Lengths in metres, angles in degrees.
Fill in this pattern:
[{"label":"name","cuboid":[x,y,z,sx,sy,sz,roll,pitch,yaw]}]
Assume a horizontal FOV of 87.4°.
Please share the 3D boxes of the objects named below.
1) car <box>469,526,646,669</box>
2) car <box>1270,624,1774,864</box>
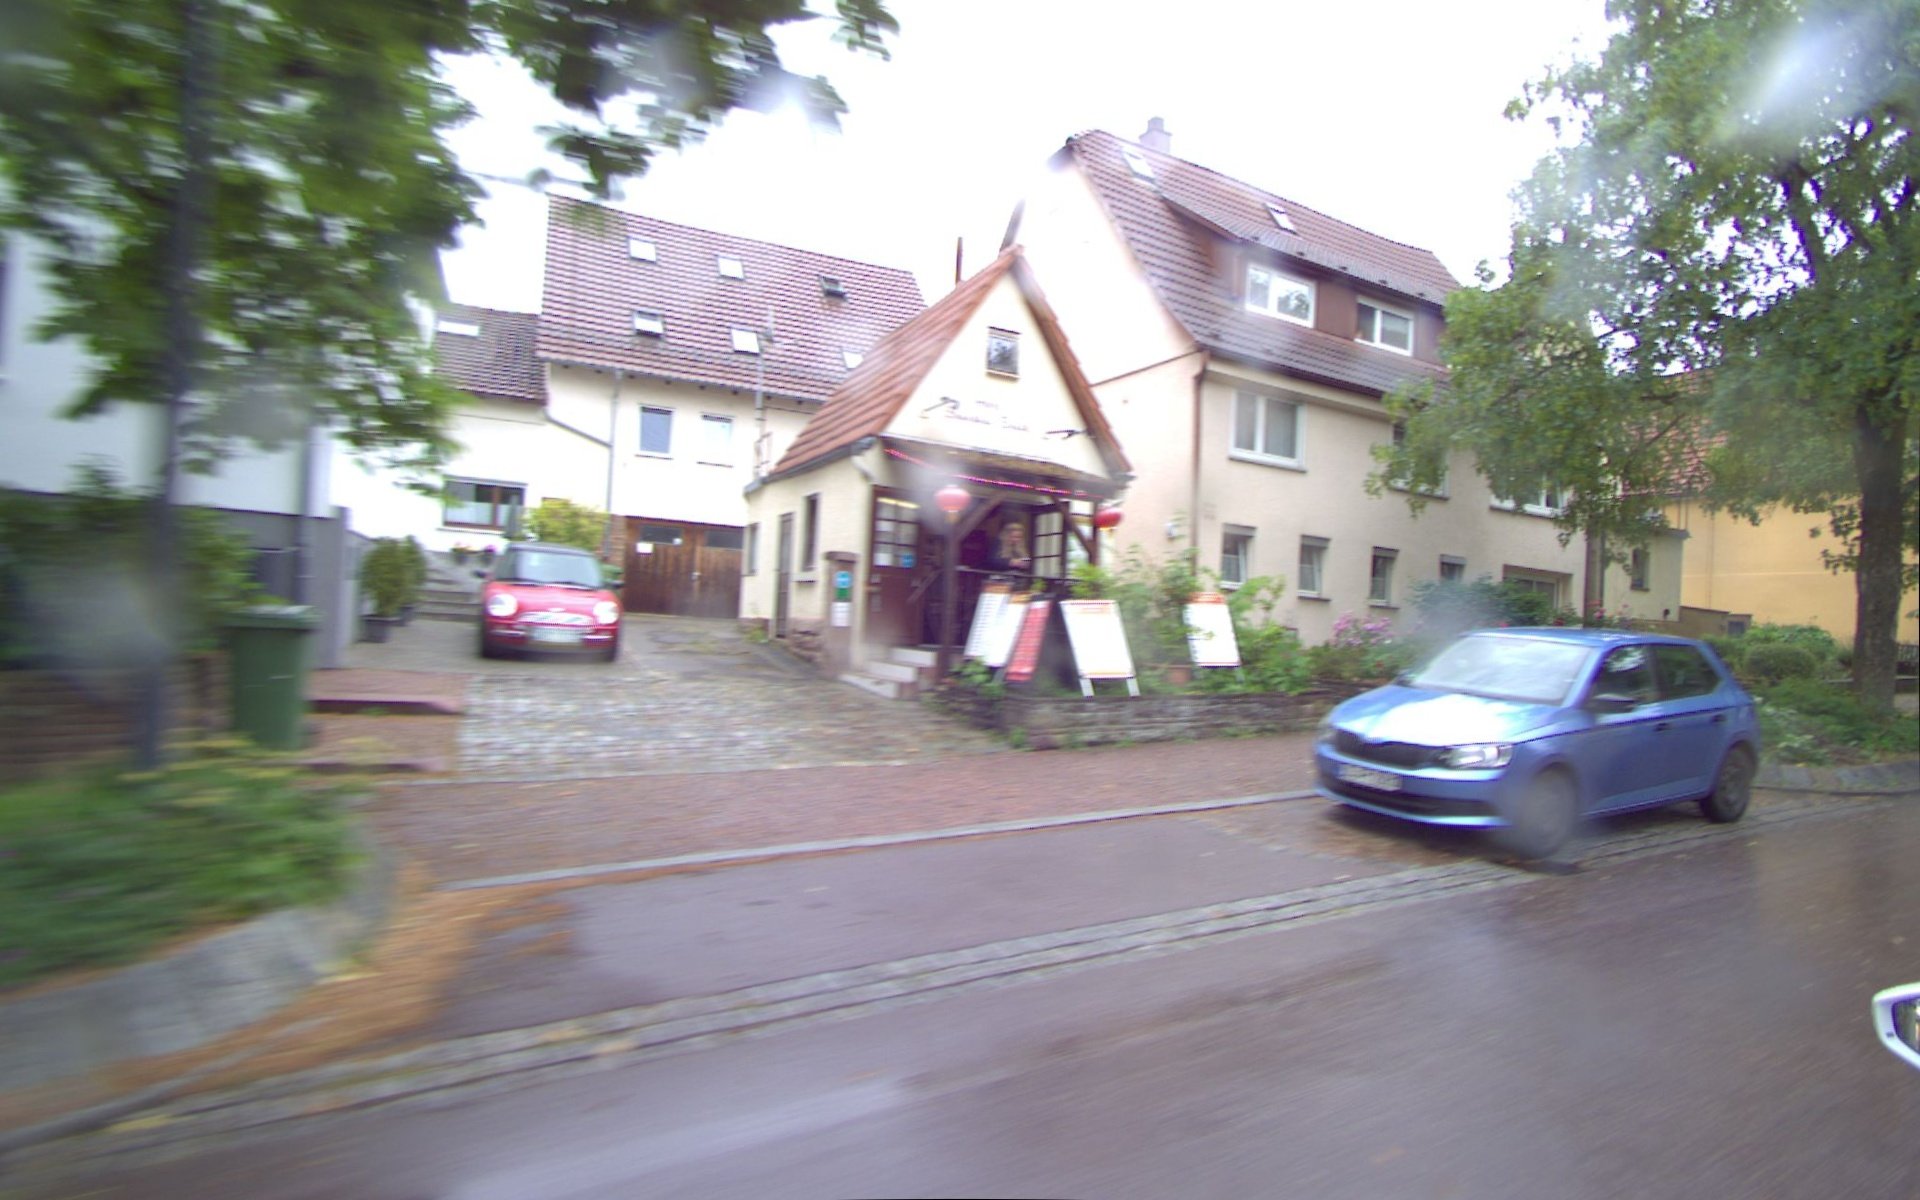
[{"label":"car","cuboid":[-5.621,-0.114,13.761,1.867,1.516,3.695,4,3,-27]},{"label":"car","cuboid":[4.420,0.941,7.824,3.750,1.414,1.741,2,0,-30]}]
